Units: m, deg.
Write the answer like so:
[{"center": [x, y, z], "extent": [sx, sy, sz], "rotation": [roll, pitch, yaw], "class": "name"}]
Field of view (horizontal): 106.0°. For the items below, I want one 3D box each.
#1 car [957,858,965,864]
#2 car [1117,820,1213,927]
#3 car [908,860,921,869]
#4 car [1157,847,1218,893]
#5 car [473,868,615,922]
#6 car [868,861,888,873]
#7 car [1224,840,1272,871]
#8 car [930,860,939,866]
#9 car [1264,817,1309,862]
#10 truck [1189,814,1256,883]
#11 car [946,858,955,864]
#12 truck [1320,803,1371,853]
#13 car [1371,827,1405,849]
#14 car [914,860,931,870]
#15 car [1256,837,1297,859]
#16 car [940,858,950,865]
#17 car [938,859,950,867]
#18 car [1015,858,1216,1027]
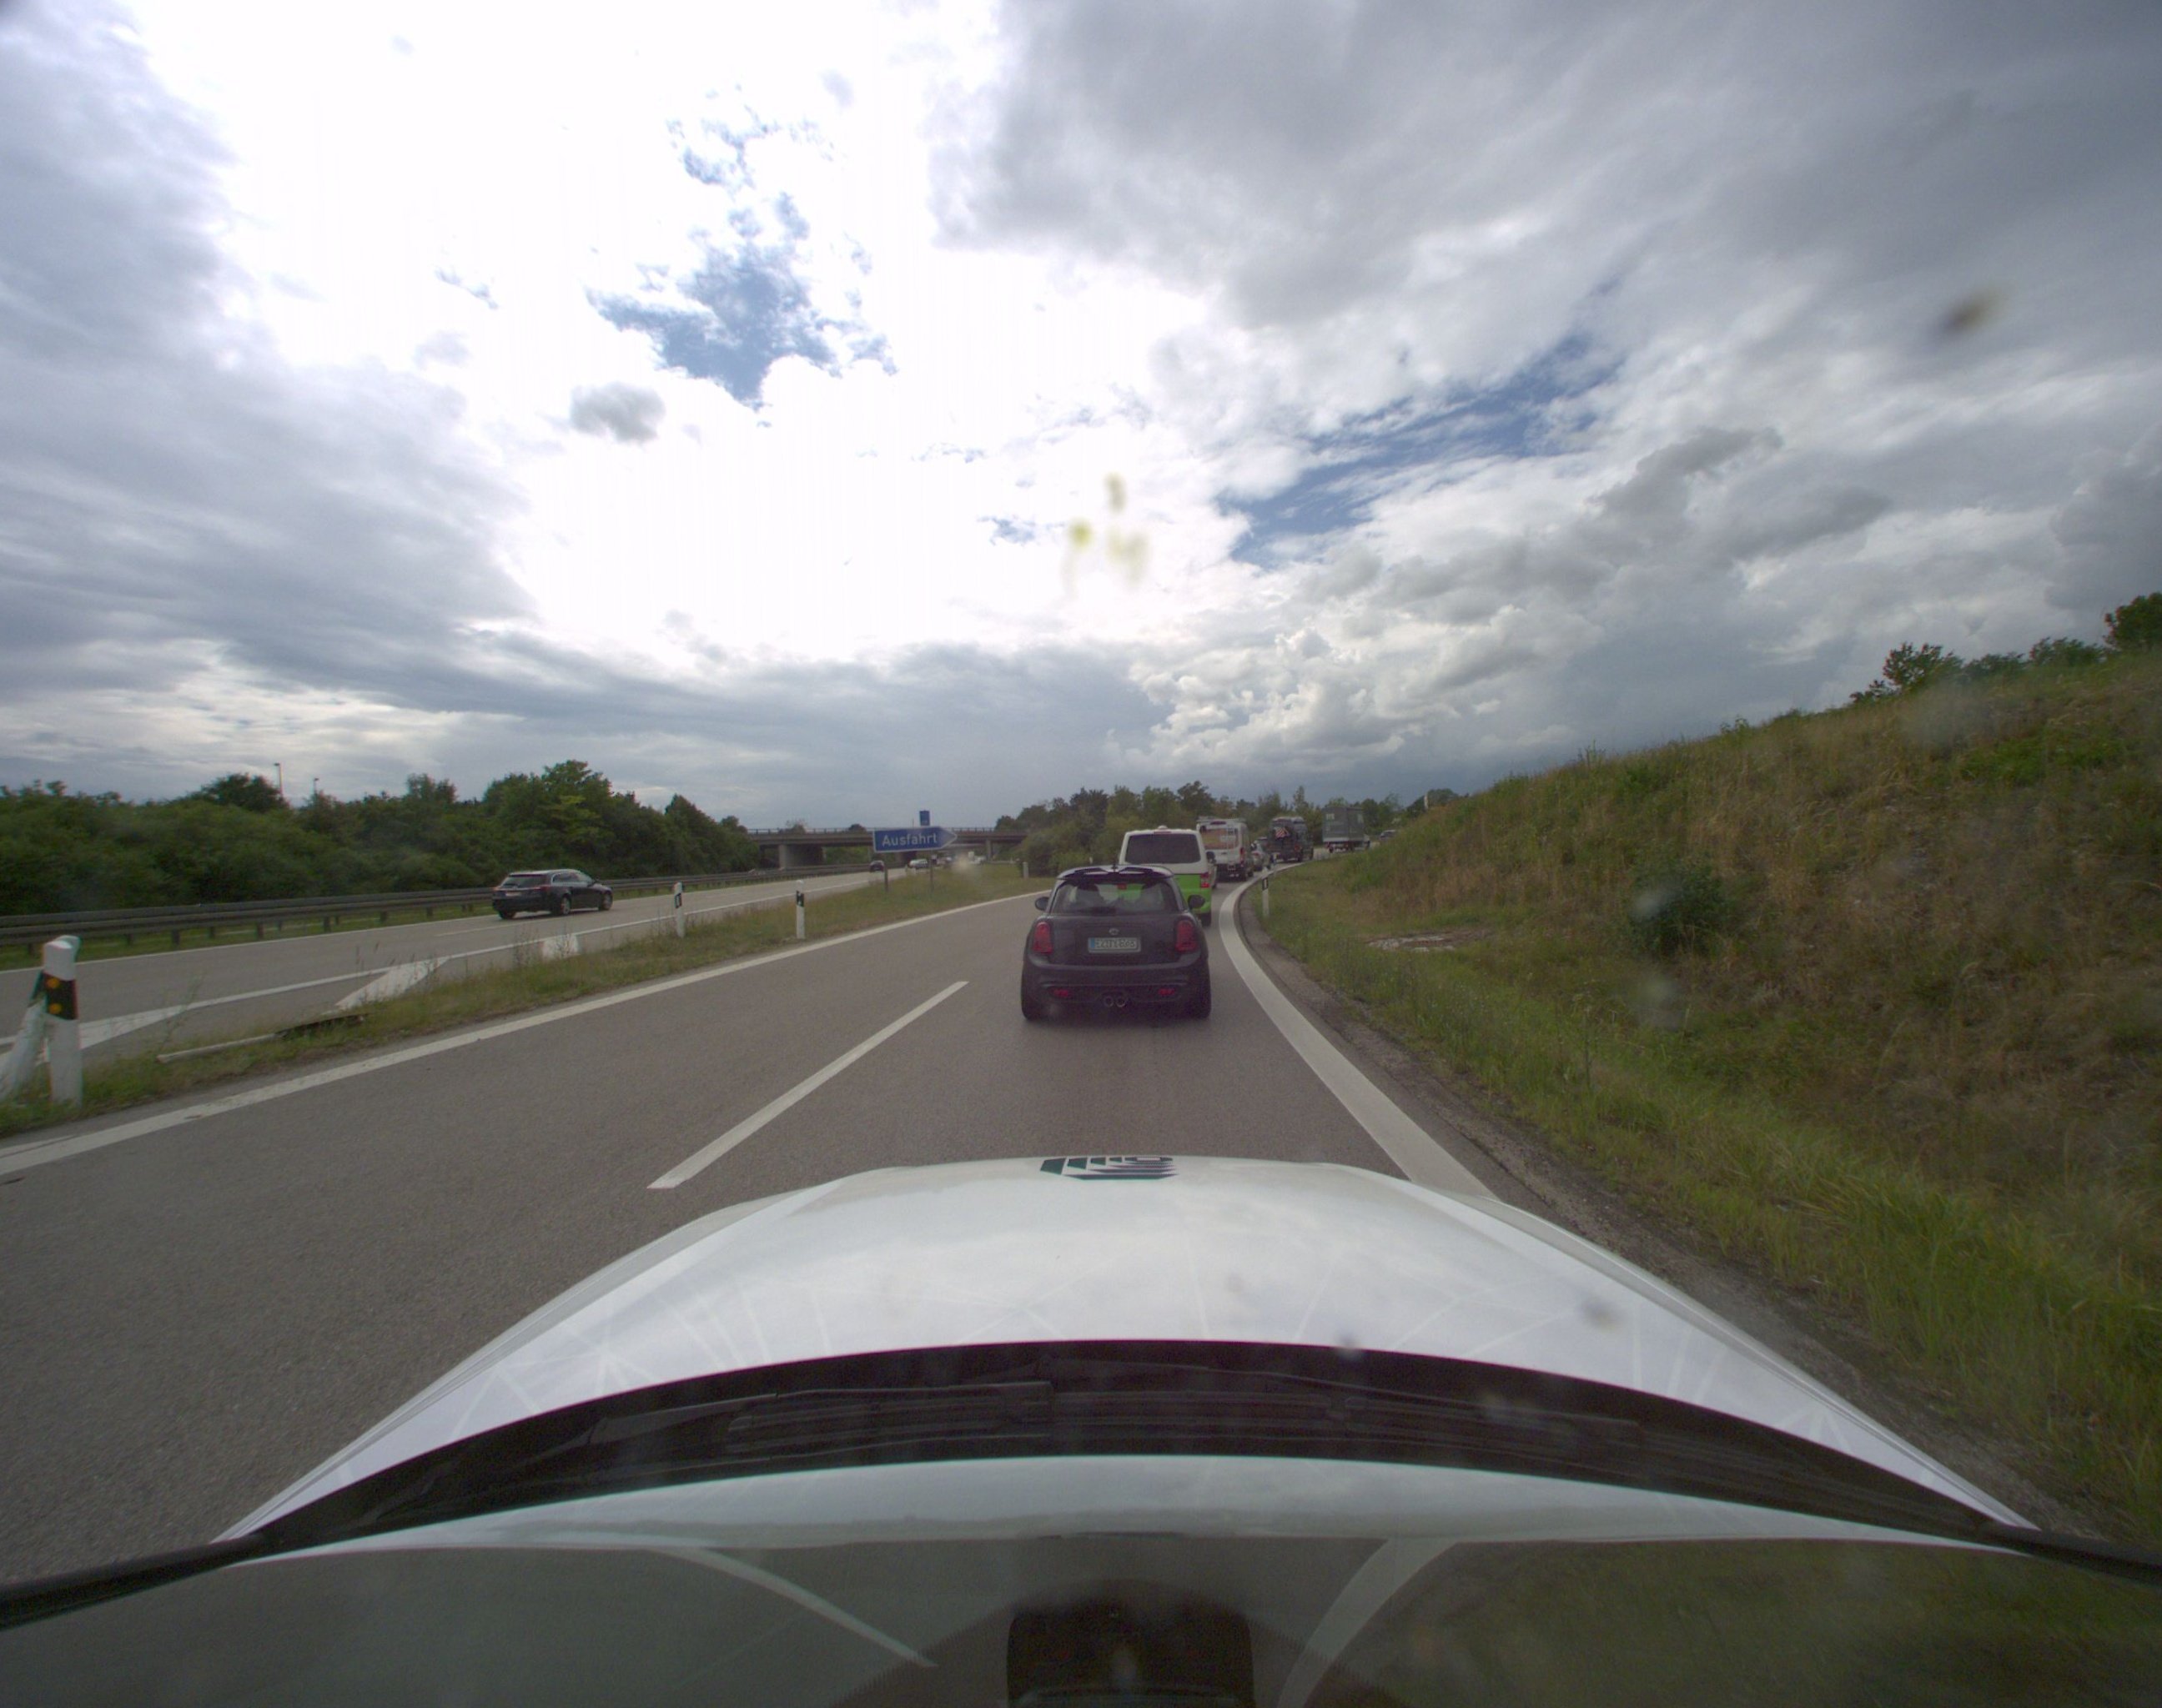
[{"center": [-36.122, 2.027, 245.433], "extent": [2.092, 1.670, 4.300], "rotation": [-2, 0, -4], "class": "car"}, {"center": [1.899, 0.365, 17.447], "extent": [1.773, 2.013, 4.010], "rotation": [-1, 0, 9], "class": "car"}, {"center": [-28.651, 1.799, 140.003], "extent": [1.778, 1.398, 4.295], "rotation": [-2, 0, -7], "class": "car"}, {"center": [3.665, 0.512, 27.629], "extent": [1.751, 1.399, 3.737], "rotation": [-2, 0, 11], "class": "car"}, {"center": [-16.937, 1.240, 26.019], "extent": [1.720, 1.424, 4.787], "rotation": [-2, 0, -6], "class": "car"}, {"center": [-25.658, 1.676, 102.998], "extent": [1.777, 1.398, 4.298], "rotation": [-2, 0, -5], "class": "car"}, {"center": [9.010, 0.066, 43.659], "extent": [1.850, 1.510, 4.021], "rotation": [-2, 0, 21], "class": "car"}, {"center": [-32.371, 1.974, 180.160], "extent": [1.778, 1.398, 4.295], "rotation": [-2, 0, -8], "class": "car"}, {"center": [13.236, -0.916, 52.251], "extent": [2.086, 2.796, 4.023], "rotation": [-1, 0, 24], "class": "car"}, {"center": [6.166, -0.272, 35.032], "extent": [2.162, 2.658, 5.131], "rotation": [-2, 1, 16], "class": "truck"}, {"center": [-39.114, 2.124, 244.618], "extent": [2.156, 1.670, 4.300], "rotation": [-2, 0, -4], "class": "car"}, {"center": [21.916, -2.076, 67.268], "extent": [2.207, 3.907, 6.054], "rotation": [-1, -1, 36], "class": "truck"}, {"center": [29.072, -1.467, 77.067], "extent": [1.974, 2.014, 4.025], "rotation": [-1, -1, 36], "class": "car"}, {"center": [-22.806, 1.602, 117.216], "extent": [1.777, 1.398, 4.543], "rotation": [-2, 0, -5], "class": "car"}, {"center": [14.964, -0.467, 62.160], "extent": [1.778, 1.556, 3.986], "rotation": [-2, -1, 33], "class": "car"}, {"center": [-36.778, 2.037, 220.022], "extent": [2.092, 1.670, 4.300], "rotation": [-2, 0, -4], "class": "car"}, {"center": [-26.344, 1.755, 156.449], "extent": [1.776, 1.399, 4.023], "rotation": [-2, 0, -4], "class": "car"}, {"center": [0.373, 0.778, 8.937], "extent": [1.720, 1.413, 3.727], "rotation": [-1, 0, 2], "class": "car"}]
